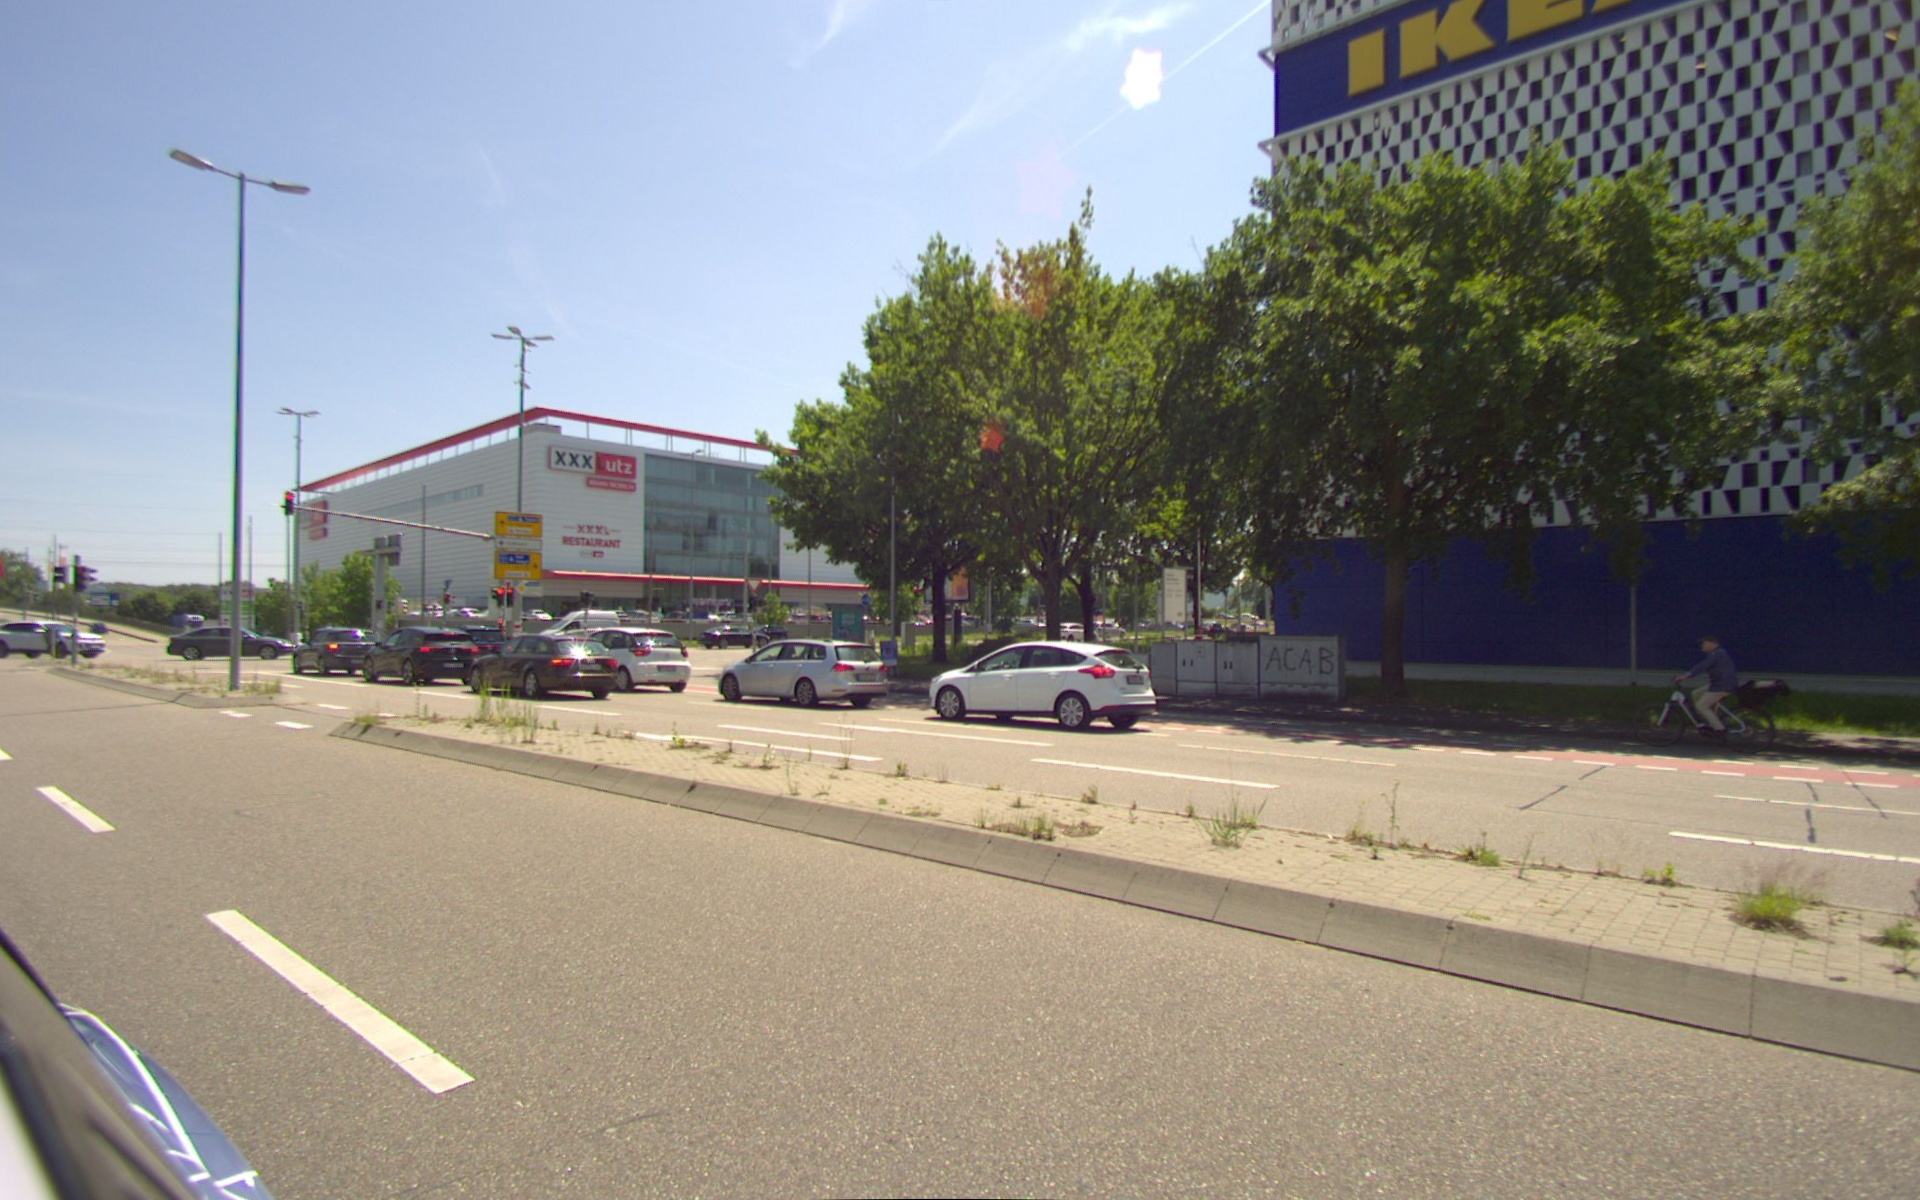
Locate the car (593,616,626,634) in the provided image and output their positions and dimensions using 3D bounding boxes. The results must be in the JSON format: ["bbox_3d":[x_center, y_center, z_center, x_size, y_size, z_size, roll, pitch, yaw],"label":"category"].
[{"bbox_3d":[-39.607,2.817,114.296,4.134,2.029,1.759,-1,-2,42],"label":"car"}]

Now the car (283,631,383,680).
[{"bbox_3d":[-19.569,1.715,31.559,3.714,1.400,1.626,-1,-4,42],"label":"car"}]

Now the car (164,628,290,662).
[{"bbox_3d":[-30.799,1.908,42.668,4.018,1.393,1.776,1,-3,-27],"label":"car"}]

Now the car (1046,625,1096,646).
[{"bbox_3d":[8.761,2.809,79.467,1.794,1.447,4.010,-4,-6,45],"label":"car"}]

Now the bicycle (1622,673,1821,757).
[{"bbox_3d":[12.020,1.782,16.052,2.435,1.134,0.731,-2,-2,44],"label":"bicycle"}]

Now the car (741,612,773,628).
[{"bbox_3d":[-25.050,2.496,124.841,3.999,2.029,1.972,-1,-2,42],"label":"car"}]

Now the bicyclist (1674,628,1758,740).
[{"bbox_3d":[12.008,1.300,16.082,0.952,1.698,0.736,-2,-3,44],"label":"bicyclist"}]

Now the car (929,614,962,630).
[{"bbox_3d":[-1.888,2.886,132.599,3.999,2.029,1.972,-1,-2,42],"label":"car"}]

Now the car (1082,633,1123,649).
[{"bbox_3d":[12.587,3.647,89.429,1.697,1.433,3.952,-3,-4,42],"label":"car"}]

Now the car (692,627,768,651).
[{"bbox_3d":[-14.006,2.410,61.775,1.677,1.415,4.403,-2,-3,43],"label":"car"}]

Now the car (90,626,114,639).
[{"bbox_3d":[-114.790,4.282,135.373,4.000,1.608,1.972,0,0,43],"label":"car"}]

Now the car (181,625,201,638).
[{"bbox_3d":[-138.304,5.714,182.084,4.815,2.300,2.162,-2,-3,44],"label":"car"}]

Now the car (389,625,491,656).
[{"bbox_3d":[-25.924,1.995,50.502,4.357,1.414,1.775,0,-2,-34],"label":"car"}]

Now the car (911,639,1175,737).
[{"bbox_3d":[1.363,1.462,17.764,4.448,1.457,1.709,-1,-4,40],"label":"car"}]

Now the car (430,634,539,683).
[{"bbox_3d":[-15.266,1.825,32.384,4.036,1.435,1.643,-1,-2,41],"label":"car"}]

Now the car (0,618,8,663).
[{"bbox_3d":[-41.390,1.622,40.137,5.042,1.835,2.003,0,-2,-7],"label":"car"}]

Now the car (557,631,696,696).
[{"bbox_3d":[-8.878,1.619,26.796,3.913,1.556,1.708,-1,-3,41],"label":"car"}]

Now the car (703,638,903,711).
[{"bbox_3d":[-3.516,1.570,22.140,4.620,1.433,1.728,-2,-4,40],"label":"car"}]

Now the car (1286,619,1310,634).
[{"bbox_3d":[47.055,3.744,140.803,1.816,2.029,3.944,-2,-3,42],"label":"car"}]

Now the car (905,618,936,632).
[{"bbox_3d":[-5.027,3.133,128.499,3.646,1.771,1.761,-1,-2,39],"label":"car"}]

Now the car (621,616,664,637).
[{"bbox_3d":[-31.441,2.593,100.241,4.323,2.029,1.975,-1,-2,38],"label":"car"}]

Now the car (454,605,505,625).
[{"bbox_3d":[-49.264,1.565,103.753,1.679,2.029,4.410,-2,-3,43],"label":"car"}]

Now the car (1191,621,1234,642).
[{"bbox_3d":[23.055,2.887,92.327,1.803,1.452,4.491,-8,-11,43],"label":"car"}]

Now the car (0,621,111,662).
[{"bbox_3d":[-40.203,1.818,44.440,4.431,1.654,1.769,-1,-1,2],"label":"car"}]

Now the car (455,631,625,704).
[{"bbox_3d":[-9.716,1.494,23.234,4.718,1.457,1.708,-1,-4,42],"label":"car"}]

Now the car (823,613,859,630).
[{"bbox_3d":[-14.190,2.601,120.427,4.328,2.029,1.972,-1,-2,42],"label":"car"}]

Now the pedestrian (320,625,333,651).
[{"bbox_3d":[-44.532,2.671,71.173,0.596,1.797,0.827,2,-3,-44],"label":"pedestrian"}]

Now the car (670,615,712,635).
[{"bbox_3d":[-27.653,2.557,104.040,4.323,2.029,1.975,-1,-2,38],"label":"car"}]

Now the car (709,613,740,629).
[{"bbox_3d":[-30.179,2.753,129.557,3.999,2.029,1.972,-1,-2,42],"label":"car"}]

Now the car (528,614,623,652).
[{"bbox_3d":[-23.166,1.967,61.096,4.974,2.200,2.001,2,-3,-44],"label":"car"}]

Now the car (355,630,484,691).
[{"bbox_3d":[-14.875,1.622,27.756,4.242,1.517,1.708,-1,-4,42],"label":"car"}]
